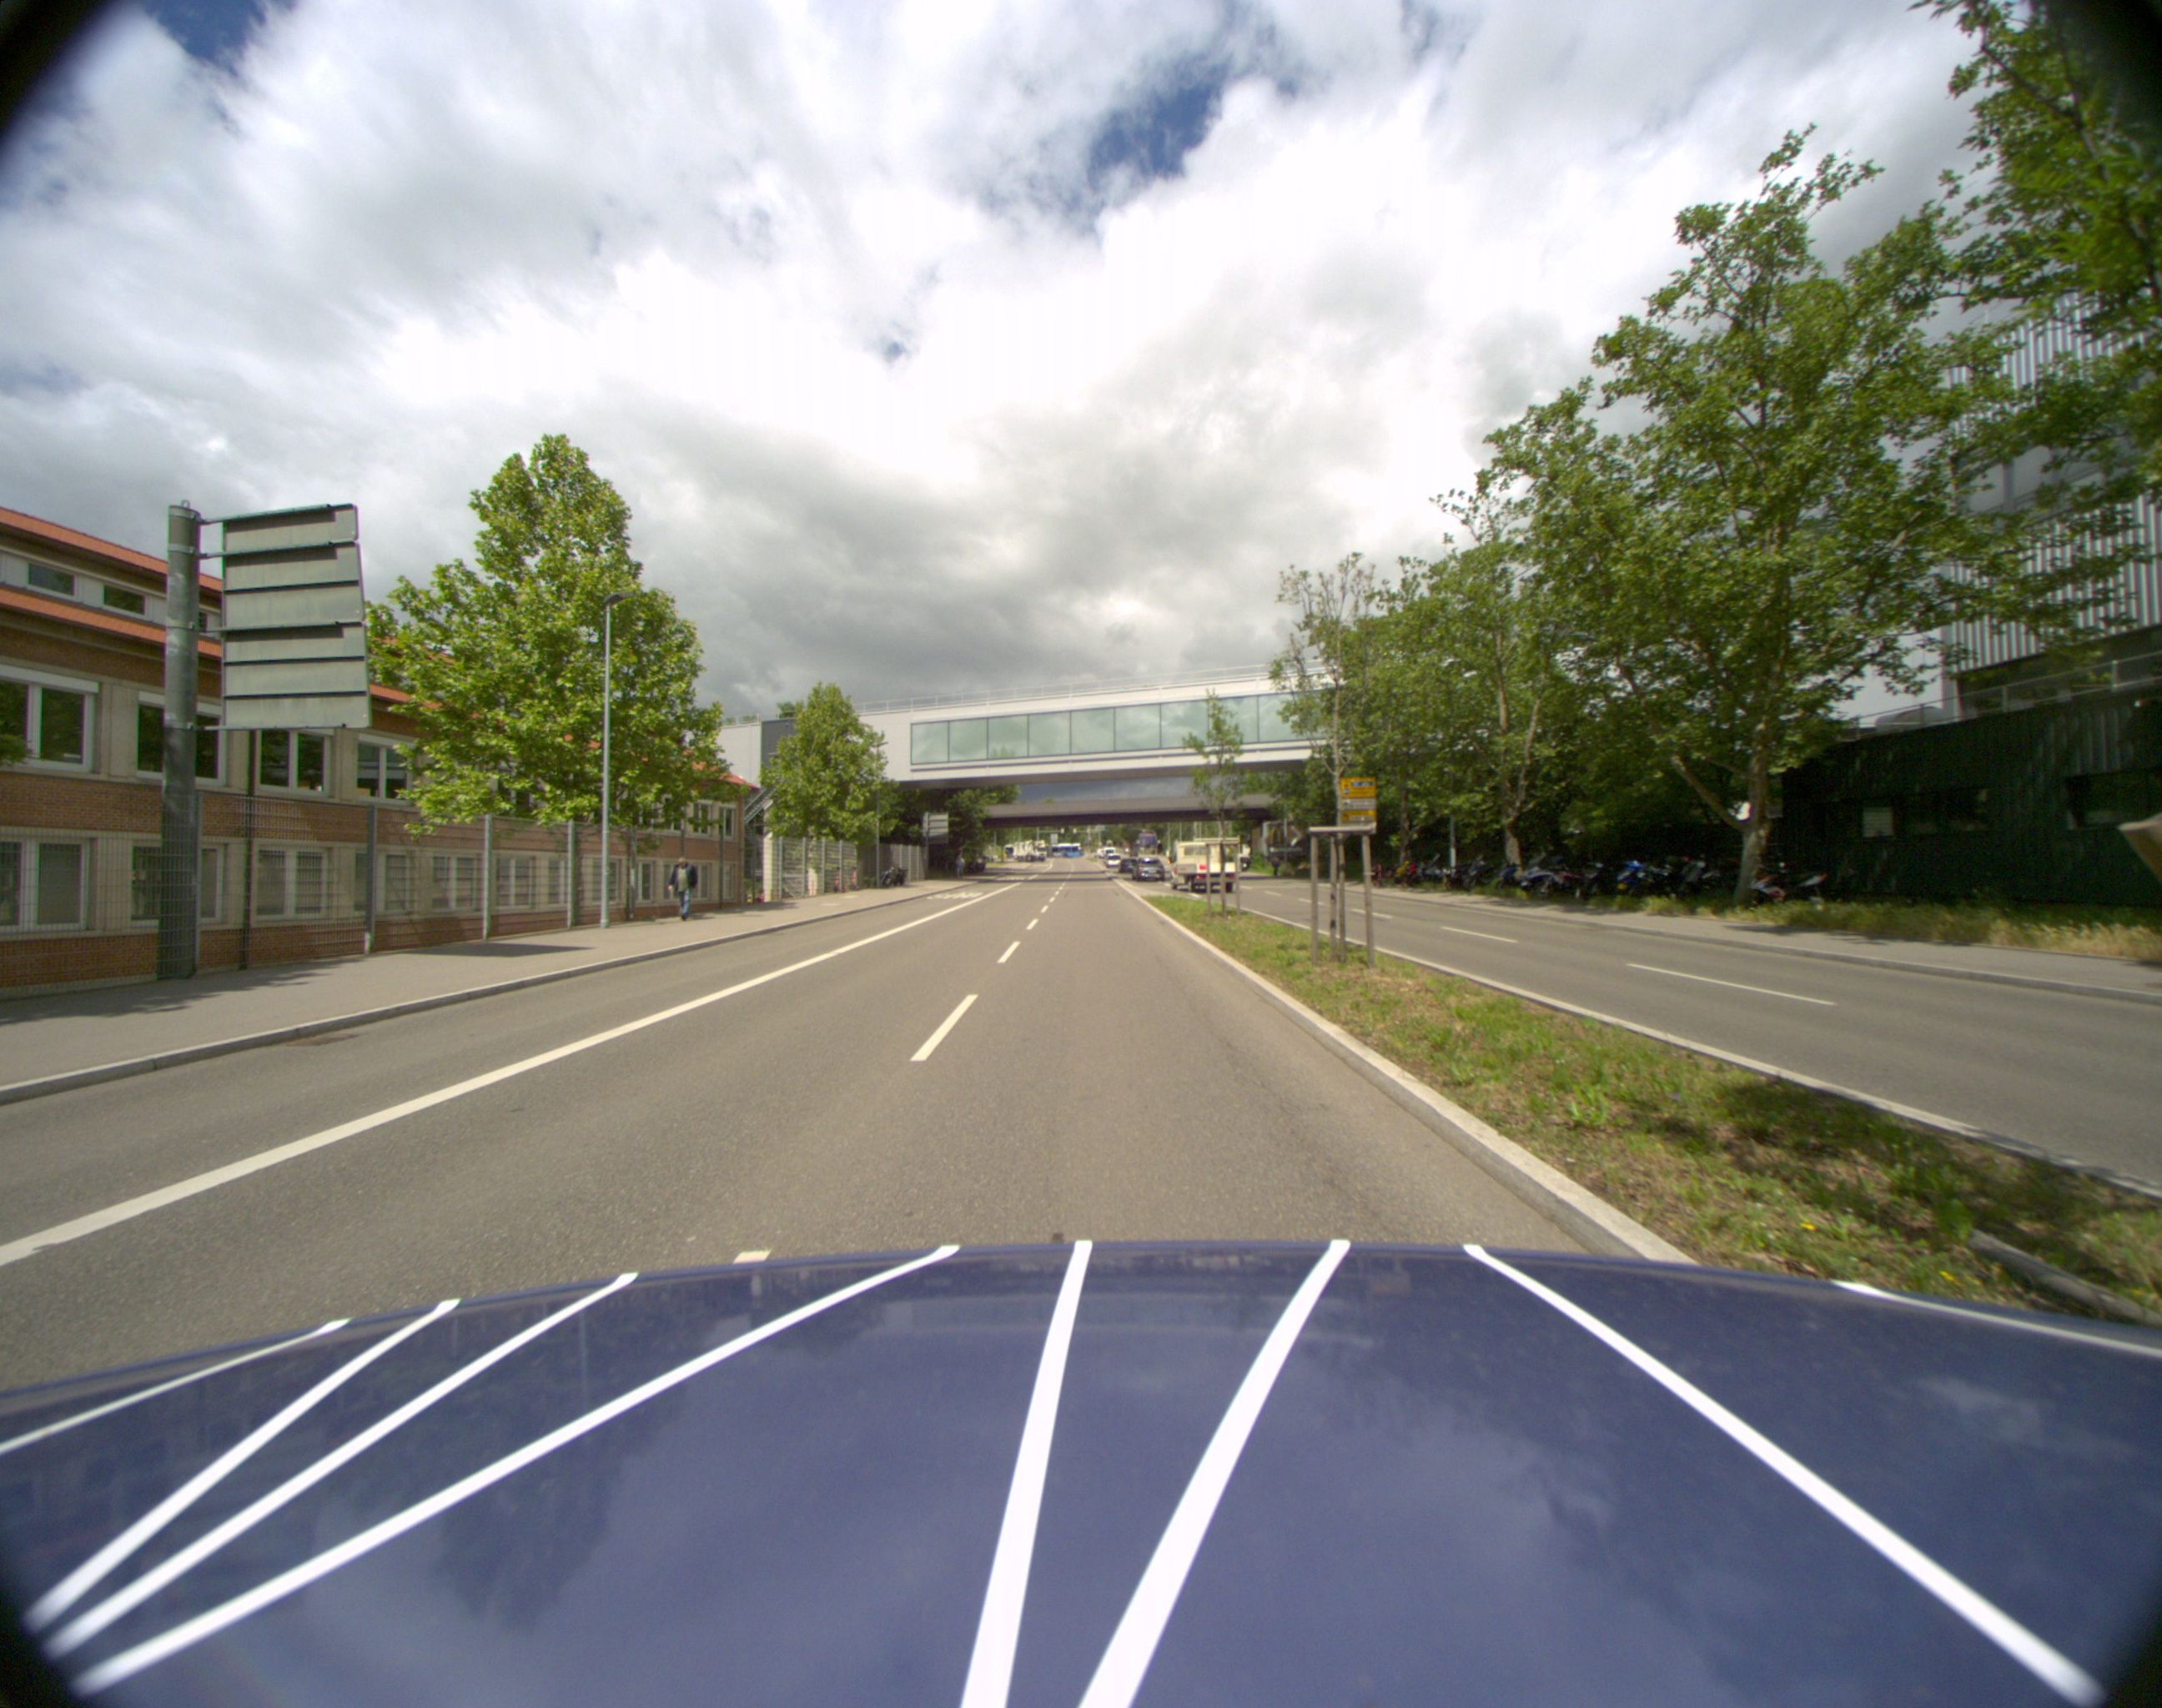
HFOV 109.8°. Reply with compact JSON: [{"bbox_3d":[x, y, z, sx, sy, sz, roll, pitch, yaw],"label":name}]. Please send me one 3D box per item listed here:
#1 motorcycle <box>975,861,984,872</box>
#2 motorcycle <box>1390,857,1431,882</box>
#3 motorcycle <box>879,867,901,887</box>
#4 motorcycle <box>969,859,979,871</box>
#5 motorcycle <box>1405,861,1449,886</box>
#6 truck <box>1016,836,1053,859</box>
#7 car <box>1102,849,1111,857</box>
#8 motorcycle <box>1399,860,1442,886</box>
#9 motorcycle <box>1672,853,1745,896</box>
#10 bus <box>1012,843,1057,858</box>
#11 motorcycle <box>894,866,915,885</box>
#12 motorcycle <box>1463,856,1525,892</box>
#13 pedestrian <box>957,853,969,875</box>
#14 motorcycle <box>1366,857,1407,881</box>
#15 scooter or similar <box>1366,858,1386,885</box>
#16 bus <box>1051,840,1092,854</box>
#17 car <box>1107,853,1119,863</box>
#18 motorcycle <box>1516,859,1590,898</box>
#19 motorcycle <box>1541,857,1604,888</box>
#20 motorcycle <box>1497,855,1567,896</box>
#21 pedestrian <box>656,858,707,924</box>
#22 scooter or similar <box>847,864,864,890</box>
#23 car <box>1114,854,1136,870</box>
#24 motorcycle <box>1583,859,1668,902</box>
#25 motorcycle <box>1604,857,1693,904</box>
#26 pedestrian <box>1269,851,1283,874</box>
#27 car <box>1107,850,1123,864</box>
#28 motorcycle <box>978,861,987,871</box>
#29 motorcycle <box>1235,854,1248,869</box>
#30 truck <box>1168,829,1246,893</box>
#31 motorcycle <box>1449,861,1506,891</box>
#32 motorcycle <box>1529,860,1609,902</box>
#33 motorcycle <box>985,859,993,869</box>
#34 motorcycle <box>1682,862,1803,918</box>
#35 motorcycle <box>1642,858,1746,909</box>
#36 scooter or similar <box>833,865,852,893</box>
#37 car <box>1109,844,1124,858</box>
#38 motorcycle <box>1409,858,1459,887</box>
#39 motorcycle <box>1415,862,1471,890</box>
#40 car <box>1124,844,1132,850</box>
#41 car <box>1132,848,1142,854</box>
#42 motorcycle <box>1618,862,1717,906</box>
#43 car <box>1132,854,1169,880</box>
[{"bbox_3d":[-10.577,1.276,79.414,0.679,1.136,2.160,0,0,0],"label":"motorcycle"},{"bbox_3d":[15.876,0.753,36.664,1.596,1.116,0.776,-3,-1,-8],"label":"motorcycle"},{"bbox_3d":[-11.063,1.343,44.025,0.670,1.058,2.247,2,0,0],"label":"motorcycle"},{"bbox_3d":[-10.816,1.115,77.032,0.679,1.148,2.113,0,0,1],"label":"motorcycle"},{"bbox_3d":[15.557,0.859,34.213,1.595,1.027,0.776,-3,-1,2],"label":"motorcycle"},{"bbox_3d":[-9.026,-1.213,144.722,2.793,3.981,10.063,-2,0,-30],"label":"truck"},{"bbox_3d":[5.367,-0.226,161.245,1.827,1.796,4.254,-2,0,0],"label":"car"},{"bbox_3d":[15.859,0.885,35.528,1.595,1.116,0.776,-3,-1,2],"label":"motorcycle"},{"bbox_3d":[18.944,0.608,22.992,0.654,1.202,1.984,-3,-1,5],"label":"motorcycle"},{"bbox_3d":[-10.457,-0.867,172.122,9.776,2.919,2.652,-2,1,5],"label":"bus"},{"bbox_3d":[-10.946,1.313,47.130,0.709,1.058,2.510,2,0,0],"label":"motorcycle"},{"bbox_3d":[15.701,0.766,28.938,1.934,1.283,0.894,-3,-1,21],"label":"motorcycle"},{"bbox_3d":[-10.029,0.872,64.664,0.791,1.876,1.097,0,1,0],"label":"pedestrian"},{"bbox_3d":[15.701,0.771,39.097,1.745,1.164,0.777,-3,-1,9],"label":"motorcycle"},{"bbox_3d":[13.767,0.801,35.503,0.355,1.229,1.479,-2,1,0],"label":"scooter or similar"},{"bbox_3d":[-2.157,-1.536,170.115,8.518,2.929,2.655,-2,1,22],"label":"bus"},{"bbox_3d":[4.970,0.595,118.491,1.510,1.480,3.115,-1,0,-2],"label":"car"},{"bbox_3d":[15.567,0.800,25.102,1.880,1.172,0.816,-3,-1,16],"label":"motorcycle"},{"bbox_3d":[19.321,0.731,29.917,1.933,1.109,0.923,-4,-1,28],"label":"motorcycle"},{"bbox_3d":[15.653,0.755,26.430,1.934,1.336,0.866,-3,-1,21],"label":"motorcycle"},{"bbox_3d":[-10.934,0.993,20.826,0.879,1.733,0.940,1,1,0],"label":"pedestrian"},{"bbox_3d":[-11.548,1.184,38.928,0.492,1.287,1.336,0,0,0],"label":"scooter or similar"},{"bbox_3d":[4.183,0.745,73.272,1.713,1.445,4.478,-1,0,-2],"label":"car"},{"bbox_3d":[16.006,0.780,22.371,1.882,1.172,0.699,-3,-1,5],"label":"motorcycle"},{"bbox_3d":[15.934,0.750,21.367,1.882,1.202,0.655,-3,-1,5],"label":"motorcycle"},{"bbox_3d":[13.904,0.618,54.182,0.769,1.602,0.813,-3,1,0],"label":"pedestrian"},{"bbox_3d":[4.355,0.359,97.337,1.813,1.770,4.977,-1,0,0],"label":"car"},{"bbox_3d":[-10.638,1.281,81.880,0.679,1.076,2.038,0,0,0],"label":"motorcycle"},{"bbox_3d":[14.004,0.655,66.435,0.641,1.191,2.257,-3,1,0],"label":"motorcycle"},{"bbox_3d":[5.844,0.319,36.296,2.485,2.735,6.457,-1,0,-2],"label":"truck"},{"bbox_3d":[15.761,0.878,30.255,1.933,1.109,0.923,-4,-1,28],"label":"motorcycle"},{"bbox_3d":[15.226,0.842,23.755,1.881,1.172,0.816,-3,-1,10],"label":"motorcycle"},{"bbox_3d":[-10.176,1.134,84.235,0.679,1.076,2.180,0,0,0],"label":"motorcycle"},{"bbox_3d":[14.881,0.806,17.144,1.881,1.166,0.746,-3,-1,10],"label":"motorcycle"},{"bbox_3d":[15.423,0.734,19.154,1.881,1.179,0.730,-3,0,9],"label":"motorcycle"},{"bbox_3d":[-11.564,1.197,36.833,0.492,1.287,1.336,0,0,0],"label":"scooter or similar"},{"bbox_3d":[6.484,-0.557,138.792,2.044,2.458,5.575,-2,0,8],"label":"car"},{"bbox_3d":[15.386,0.794,33.110,1.752,1.171,0.852,-3,-1,-10],"label":"motorcycle"},{"bbox_3d":[15.221,0.932,32.004,1.938,1.109,0.920,1,1,-11],"label":"motorcycle"},{"bbox_3d":[12.687,-1.900,204.583,1.998,1.478,4.000,0,0,2],"label":"car"},{"bbox_3d":[12.796,-0.597,173.941,1.998,1.346,4.000,0,0,2],"label":"car"},{"bbox_3d":[15.657,0.801,20.334,1.880,1.078,0.795,-3,-1,16],"label":"motorcycle"},{"bbox_3d":[4.695,0.849,51.988,1.910,1.621,4.291,-1,0,-3],"label":"car"}]
